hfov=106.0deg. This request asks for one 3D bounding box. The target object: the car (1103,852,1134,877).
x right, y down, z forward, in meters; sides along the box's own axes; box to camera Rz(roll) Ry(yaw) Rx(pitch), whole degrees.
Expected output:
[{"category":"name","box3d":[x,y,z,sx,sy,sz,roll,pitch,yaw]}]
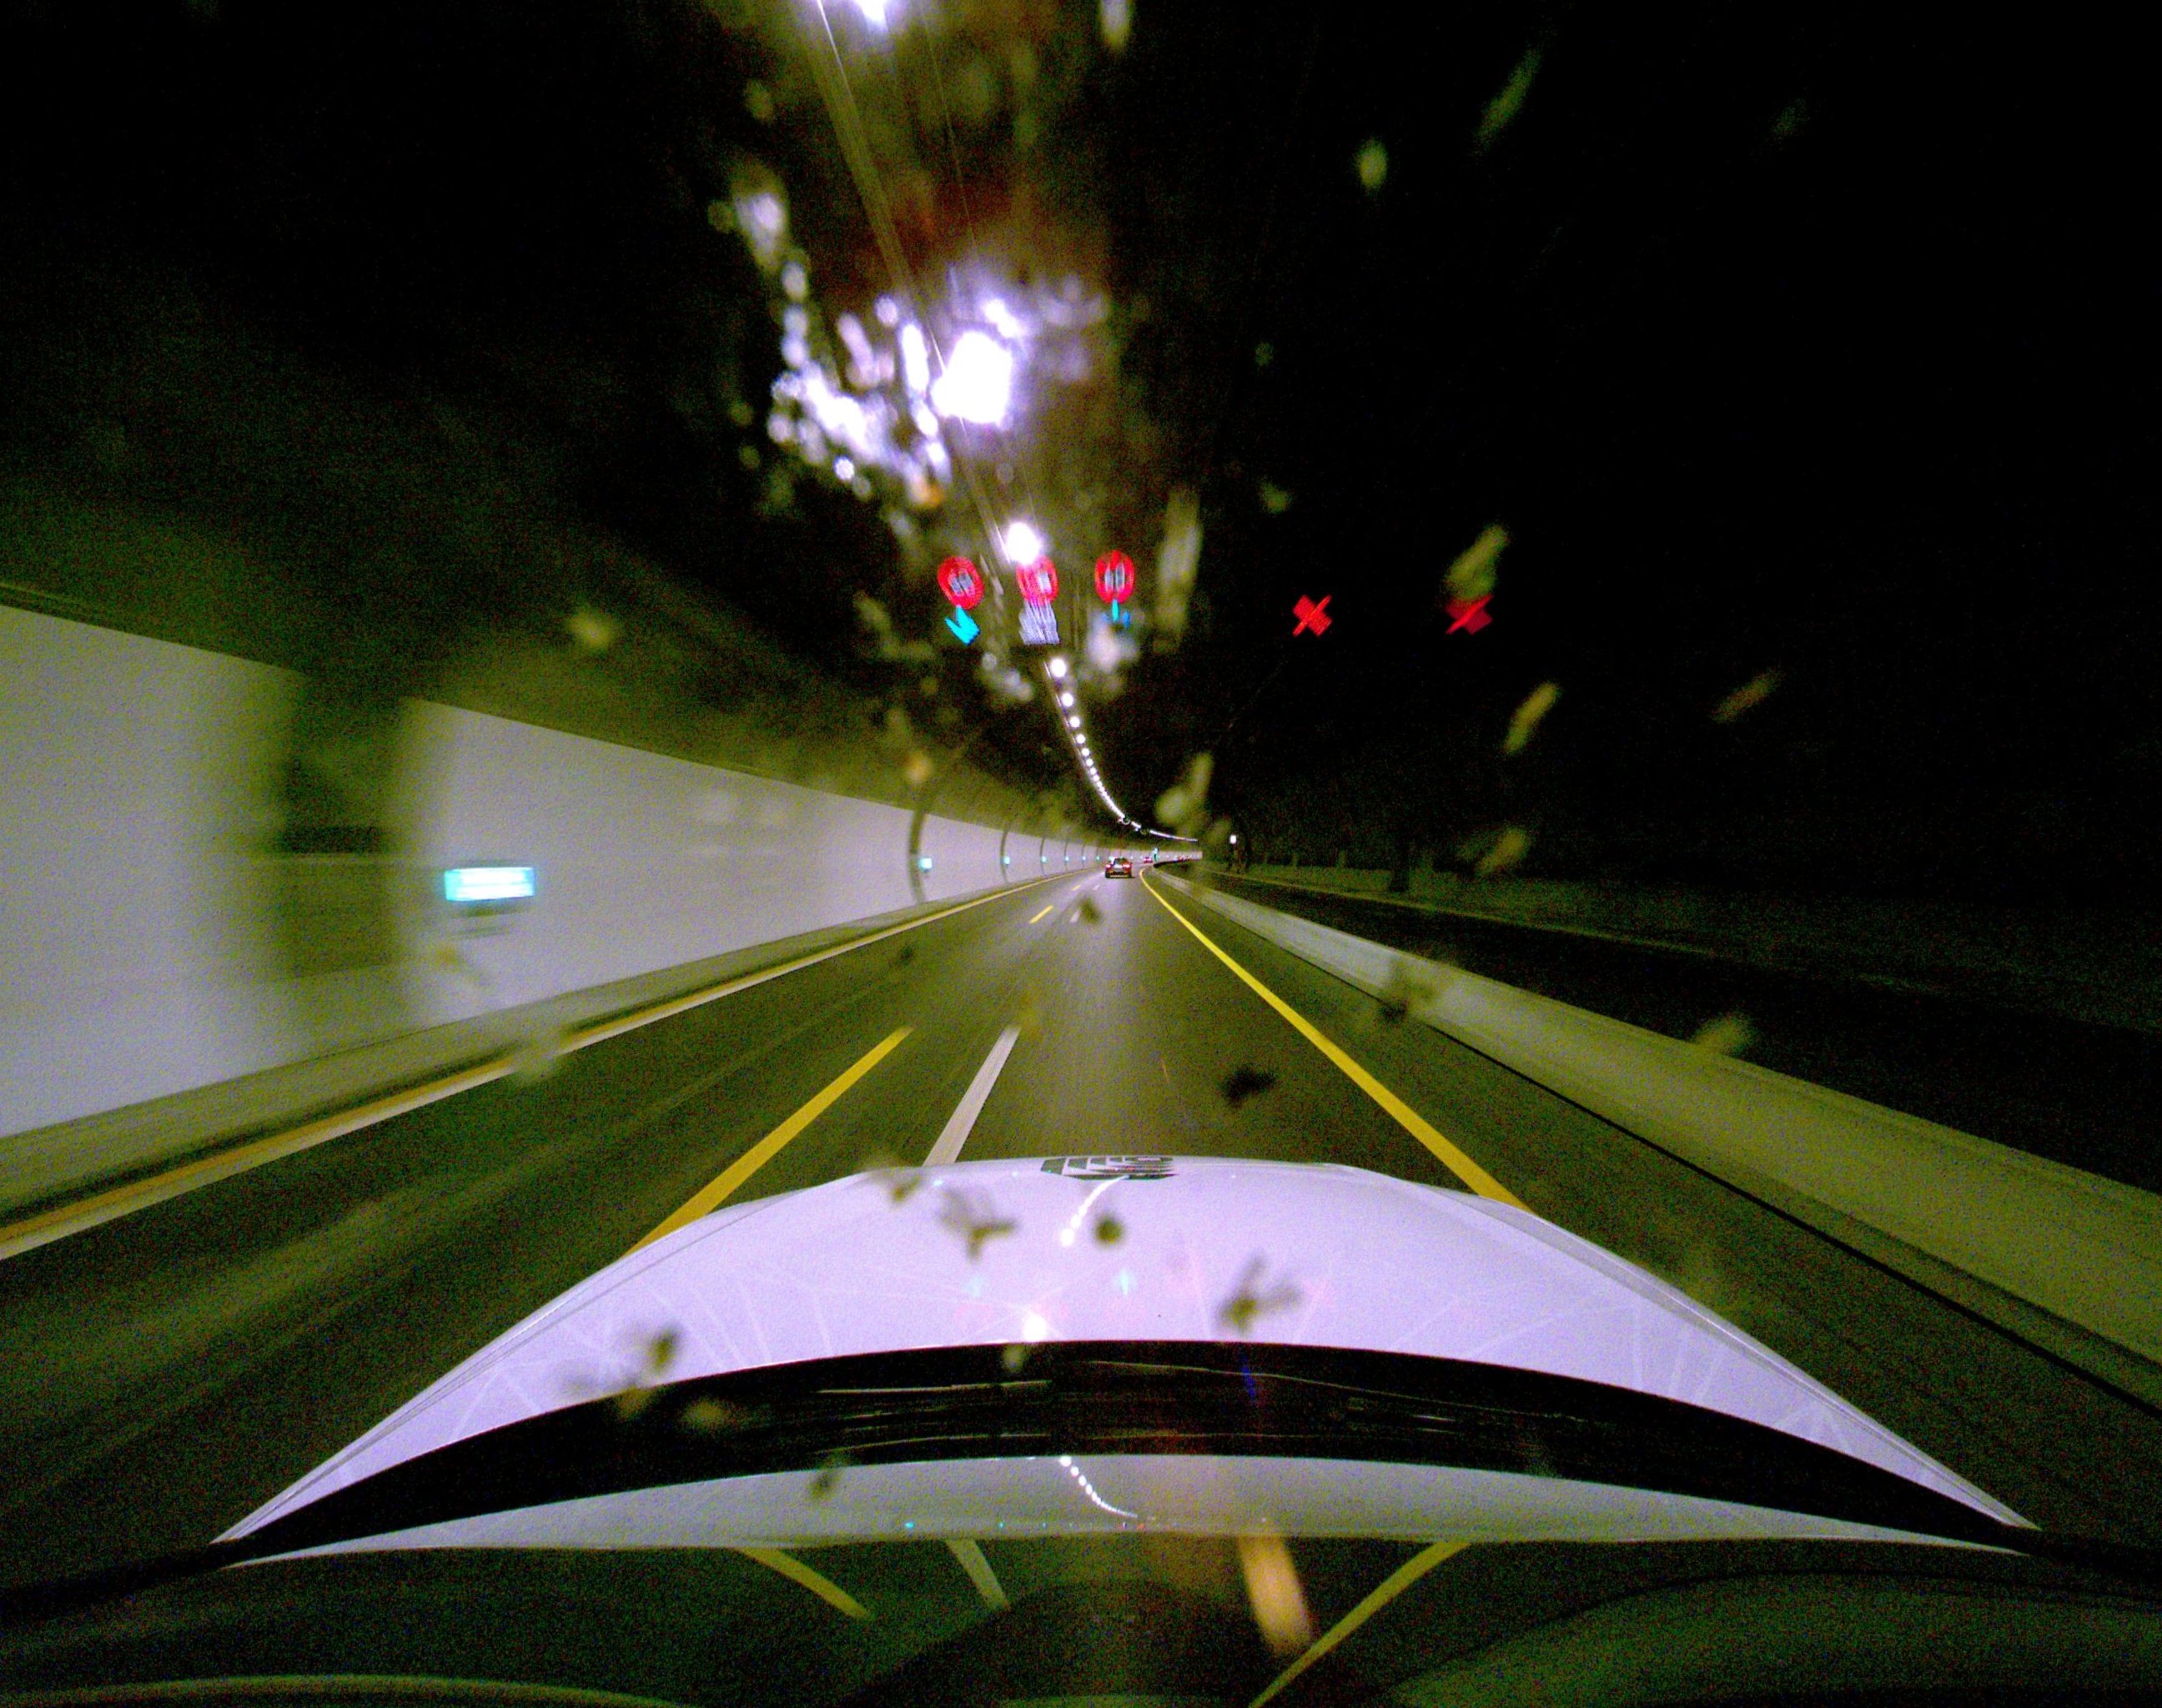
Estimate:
[{"category":"car","box3d":[2.732,0.737,58.571,2.132,1.706,4.004,-1,0,3]}]

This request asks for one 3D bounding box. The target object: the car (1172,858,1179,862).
[{"category":"car","box3d":[27.381,1.745,235.747,1.585,1.333,3.761,0,0,10]}]

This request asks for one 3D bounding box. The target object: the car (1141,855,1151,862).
[{"category":"car","box3d":[15.268,1.047,190.755,2.153,1.486,4.007,-1,0,6]}]
